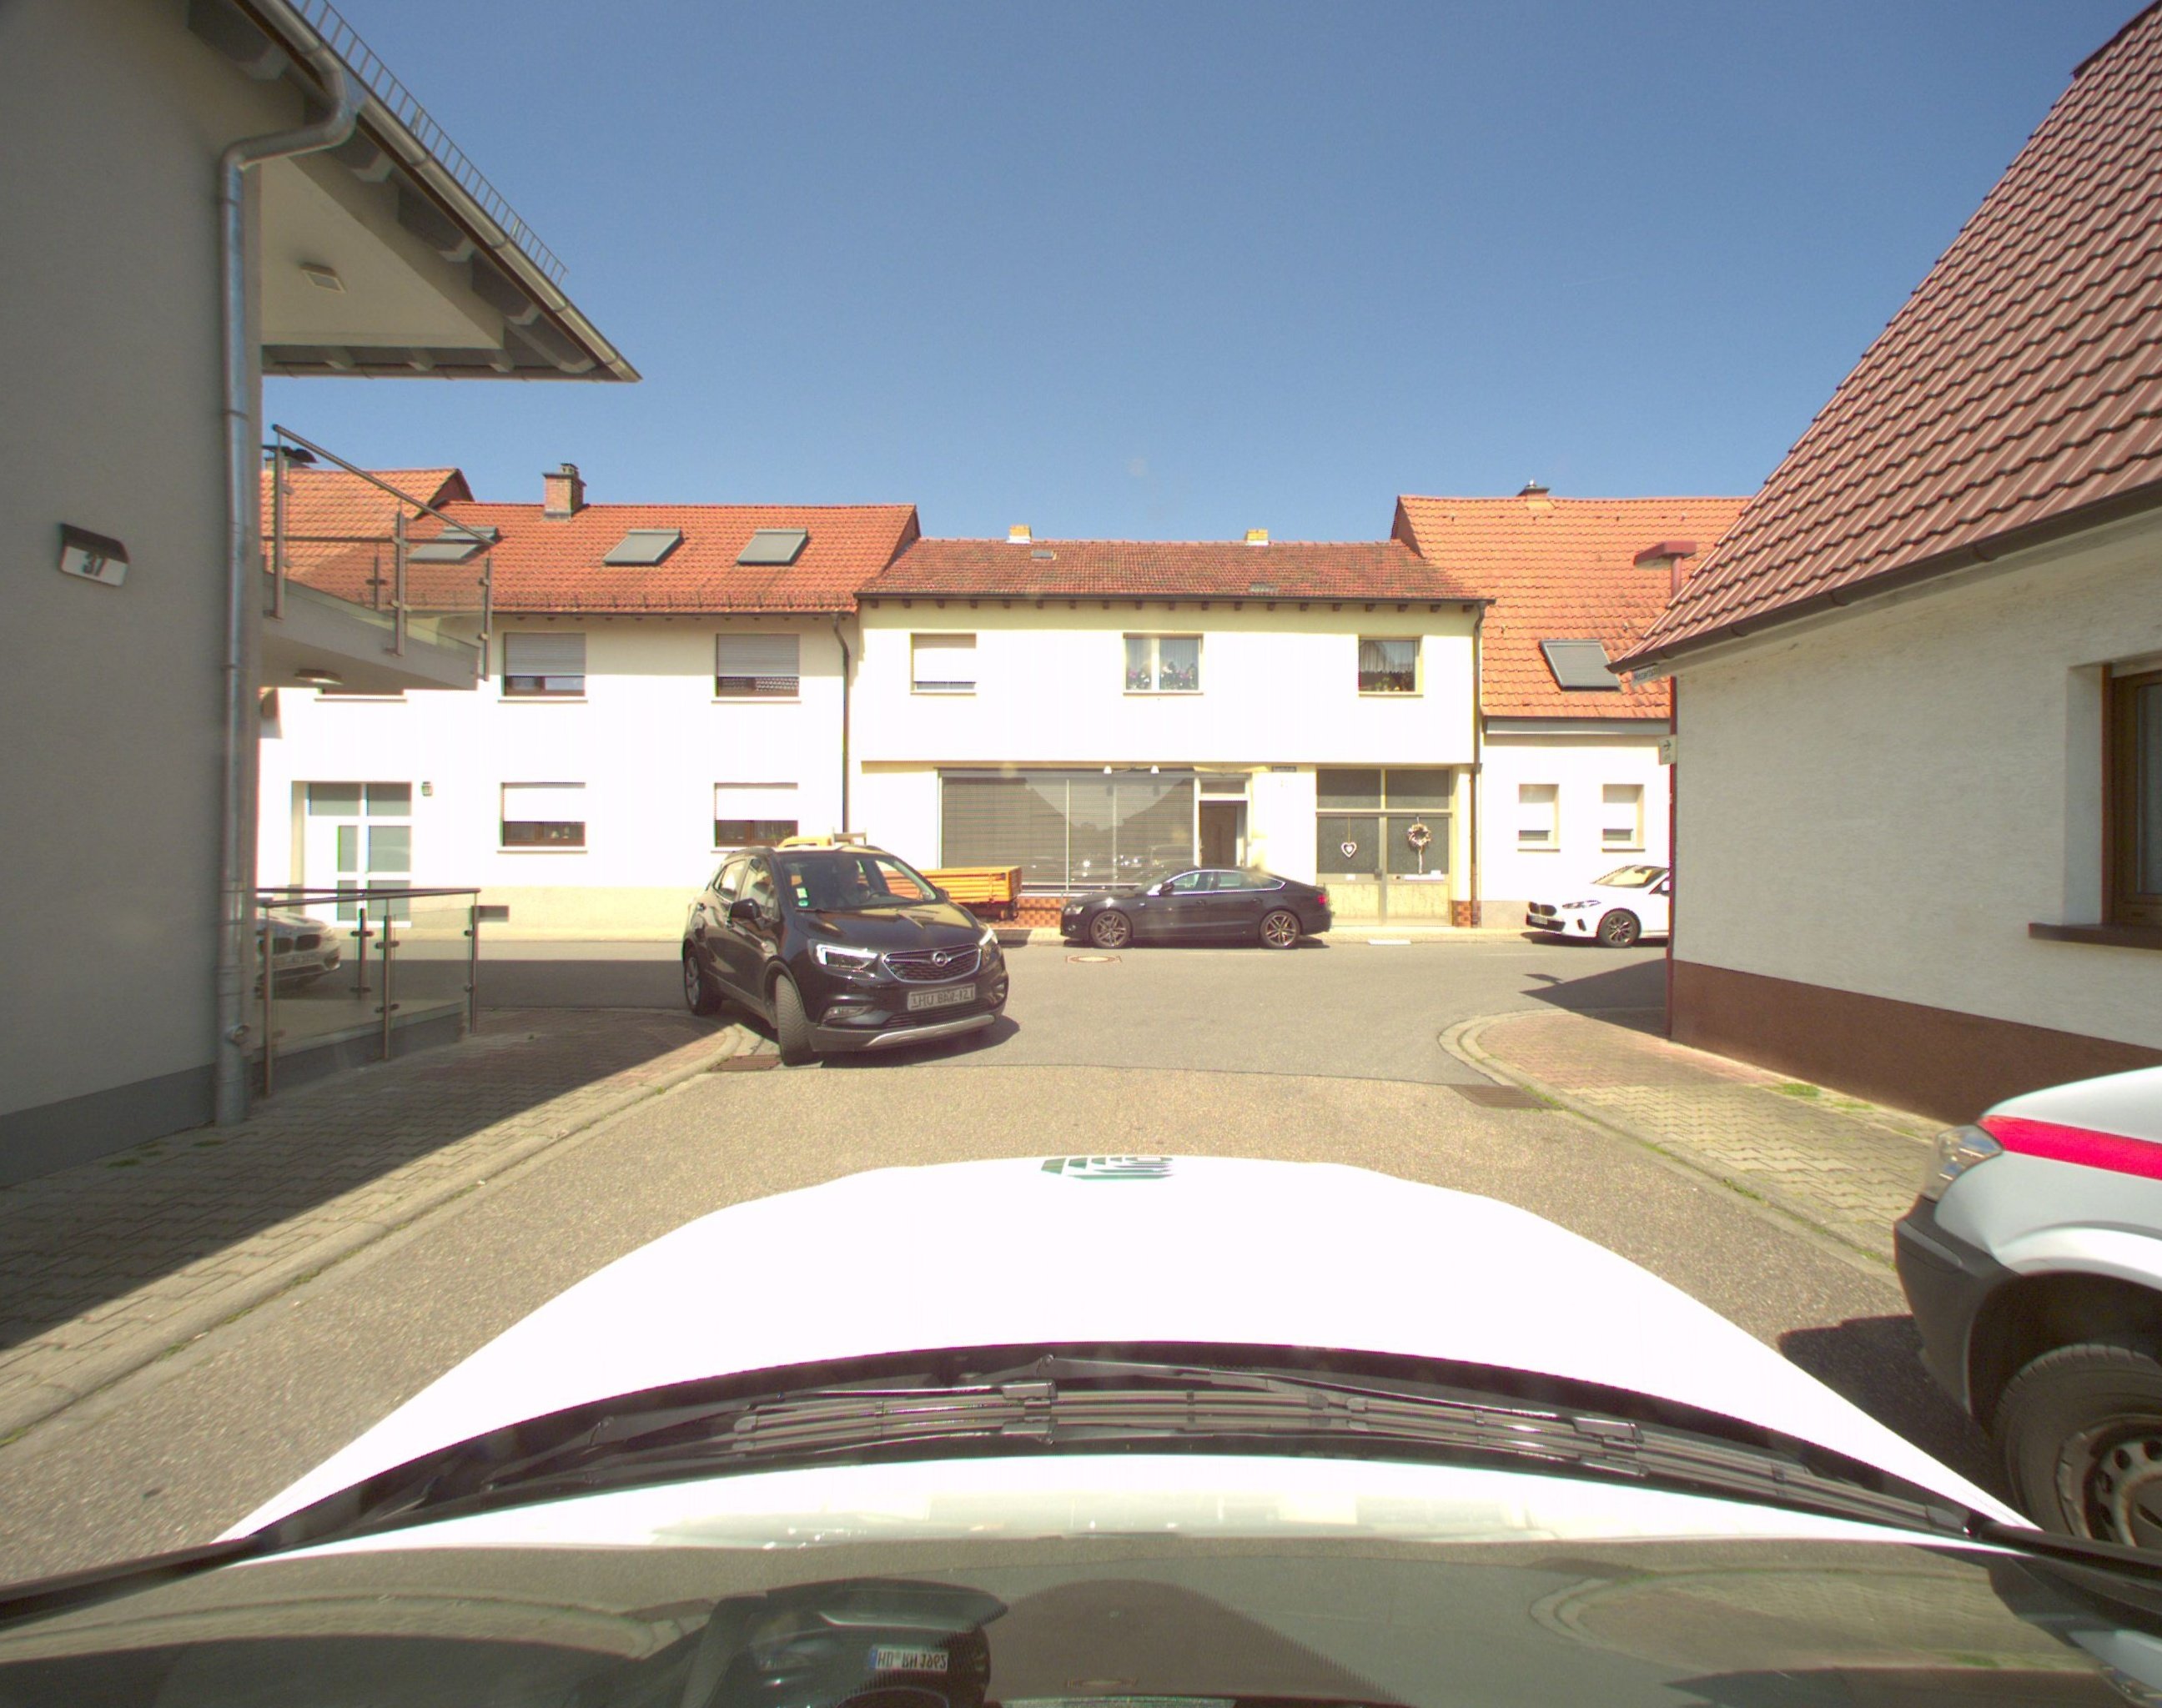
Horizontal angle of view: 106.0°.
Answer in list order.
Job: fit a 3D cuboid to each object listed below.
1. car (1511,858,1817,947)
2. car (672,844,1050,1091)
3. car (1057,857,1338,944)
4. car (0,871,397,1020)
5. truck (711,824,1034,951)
[{"bbox_3d":[10.234,0.819,14.532,4.186,1.454,1.789,0,-1,1],"label":"car"},{"bbox_3d":[-2.274,0.741,7.490,1.771,1.583,4.231,-1,1,-39],"label":"car"},{"bbox_3d":[1.911,0.808,14.266,4.602,1.394,1.927,0,-3,-1],"label":"car"},{"bbox_3d":[-10.124,0.908,8.770,3.912,1.368,1.635,0,1,-8],"label":"car"},{"bbox_3d":[-3.454,0.547,14.314,5.045,2.014,2.190,0,-1,1],"label":"truck"}]
